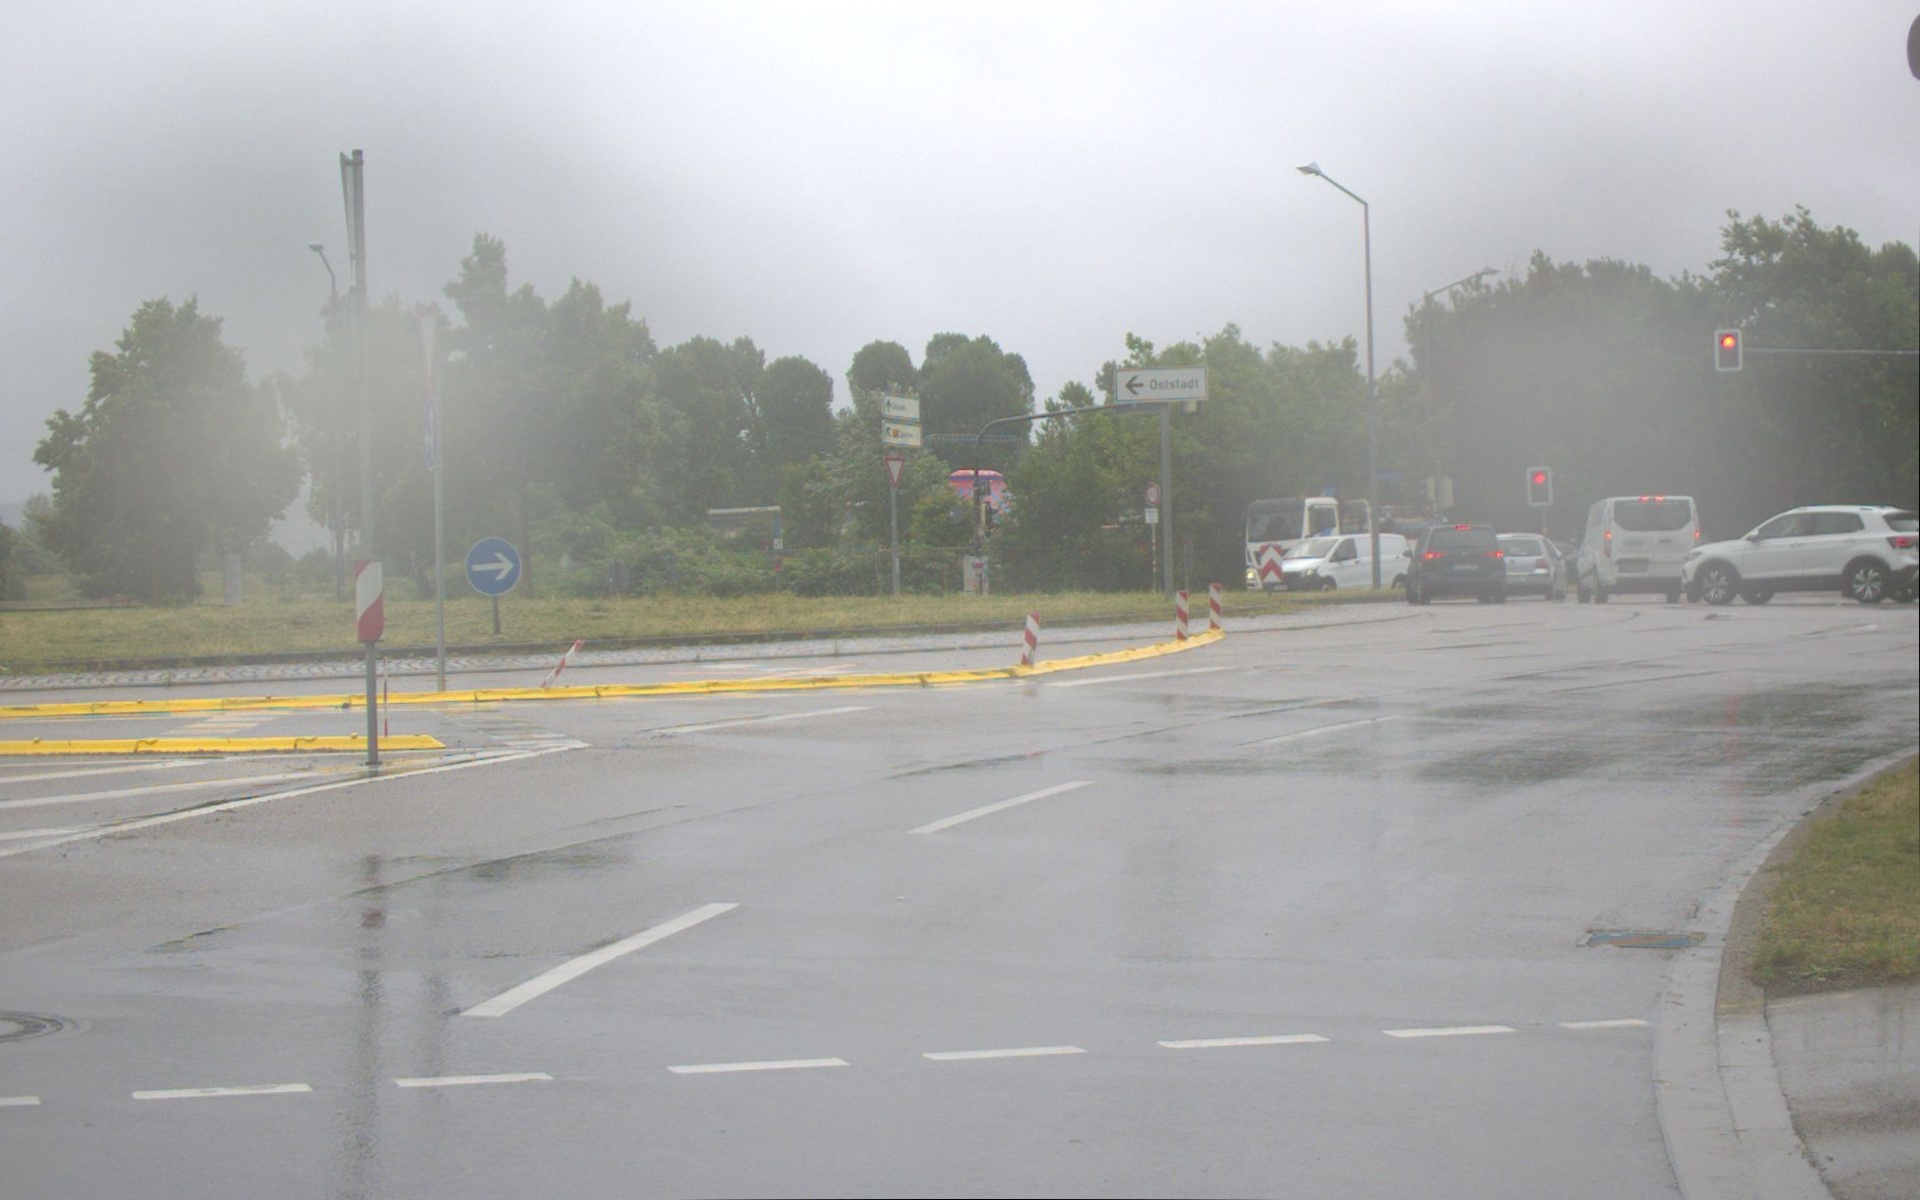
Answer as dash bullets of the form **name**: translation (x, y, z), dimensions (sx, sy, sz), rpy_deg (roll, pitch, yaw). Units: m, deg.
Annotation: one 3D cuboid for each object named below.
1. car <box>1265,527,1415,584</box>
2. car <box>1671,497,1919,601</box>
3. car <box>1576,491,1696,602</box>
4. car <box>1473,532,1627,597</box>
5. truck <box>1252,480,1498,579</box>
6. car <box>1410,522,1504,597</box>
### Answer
- **car**: translation (10.439, -1.212, 94.295), dimensions (1.610, 1.487, 4.537), rpy_deg (1, 1, 45)
- **car**: translation (13.778, -0.831, 56.011), dimensions (3.942, 1.642, 1.683), rpy_deg (1, 1, 35)
- **car**: translation (12.854, -1.011, 65.577), dimensions (1.783, 2.029, 3.999), rpy_deg (1, 1, 5)
- **car**: translation (13.020, -0.781, 75.848), dimensions (3.122, 1.367, 1.391), rpy_deg (1, 1, -26)
- **truck**: translation (12.227, -2.022, 100.650), dimensions (8.773, 2.702, 1.999), rpy_deg (0, 1, -44)
- **car**: translation (10.179, -0.828, 70.619), dimensions (1.689, 1.487, 3.250), rpy_deg (1, 1, 5)
